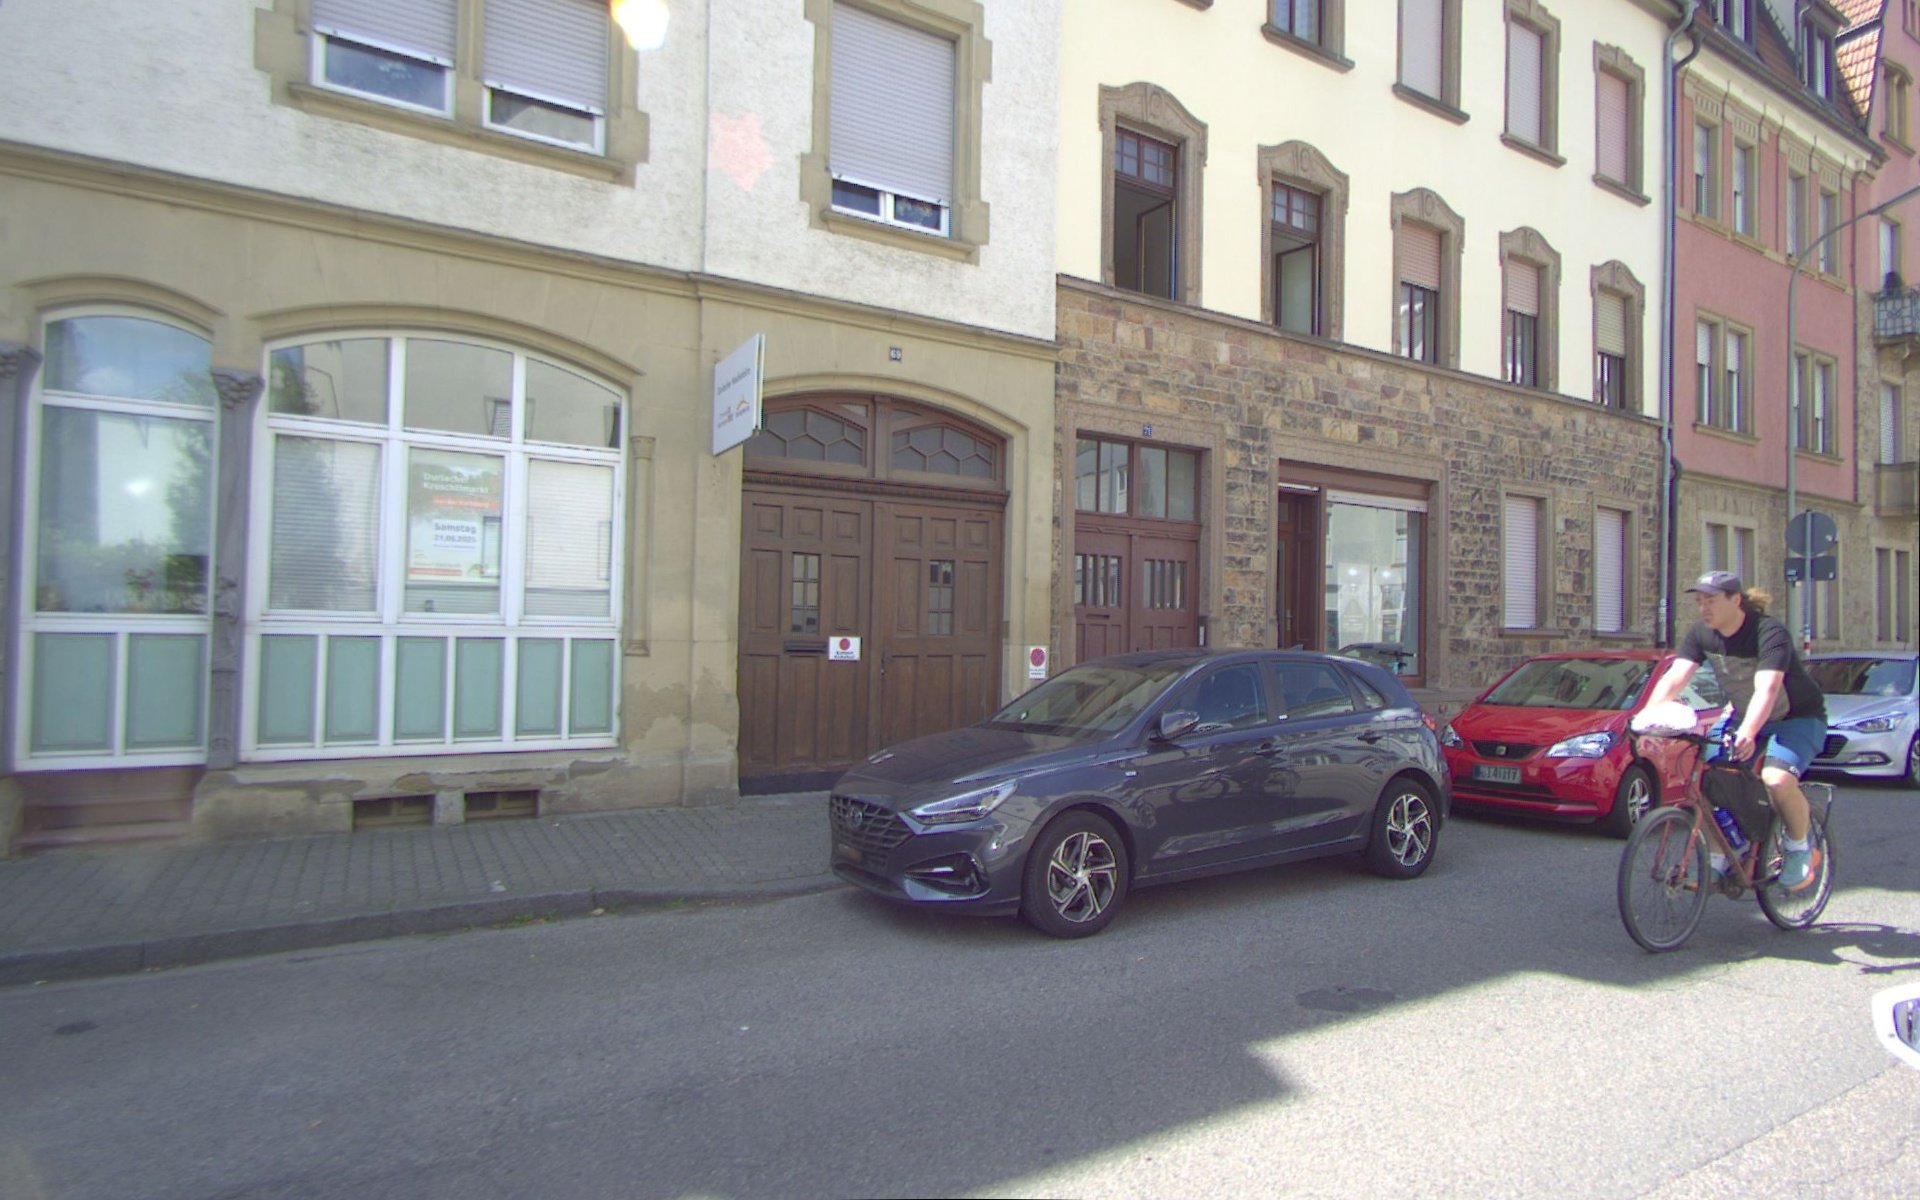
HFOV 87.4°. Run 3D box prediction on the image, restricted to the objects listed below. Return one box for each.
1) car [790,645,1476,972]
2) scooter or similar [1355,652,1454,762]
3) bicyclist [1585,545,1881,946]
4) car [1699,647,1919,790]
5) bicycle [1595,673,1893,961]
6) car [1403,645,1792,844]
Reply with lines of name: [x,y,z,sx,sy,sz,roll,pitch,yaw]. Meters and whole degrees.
car: [1.214,1.037,6.456,4.171,1.457,1.863,2,-2,-31]
scooter or similar: [5.235,1.228,11.813,1.304,1.236,0.373,2,-3,-30]
bicyclist: [3.846,0.674,5.019,1.151,1.785,0.640,1,-4,-23]
car: [10.677,1.297,11.862,3.969,1.450,1.628,2,-4,-29]
bicycle: [3.965,1.019,5.040,1.855,1.291,0.228,1,-4,-22]
car: [5.749,1.146,9.001,3.456,1.461,1.590,2,-3,-31]
